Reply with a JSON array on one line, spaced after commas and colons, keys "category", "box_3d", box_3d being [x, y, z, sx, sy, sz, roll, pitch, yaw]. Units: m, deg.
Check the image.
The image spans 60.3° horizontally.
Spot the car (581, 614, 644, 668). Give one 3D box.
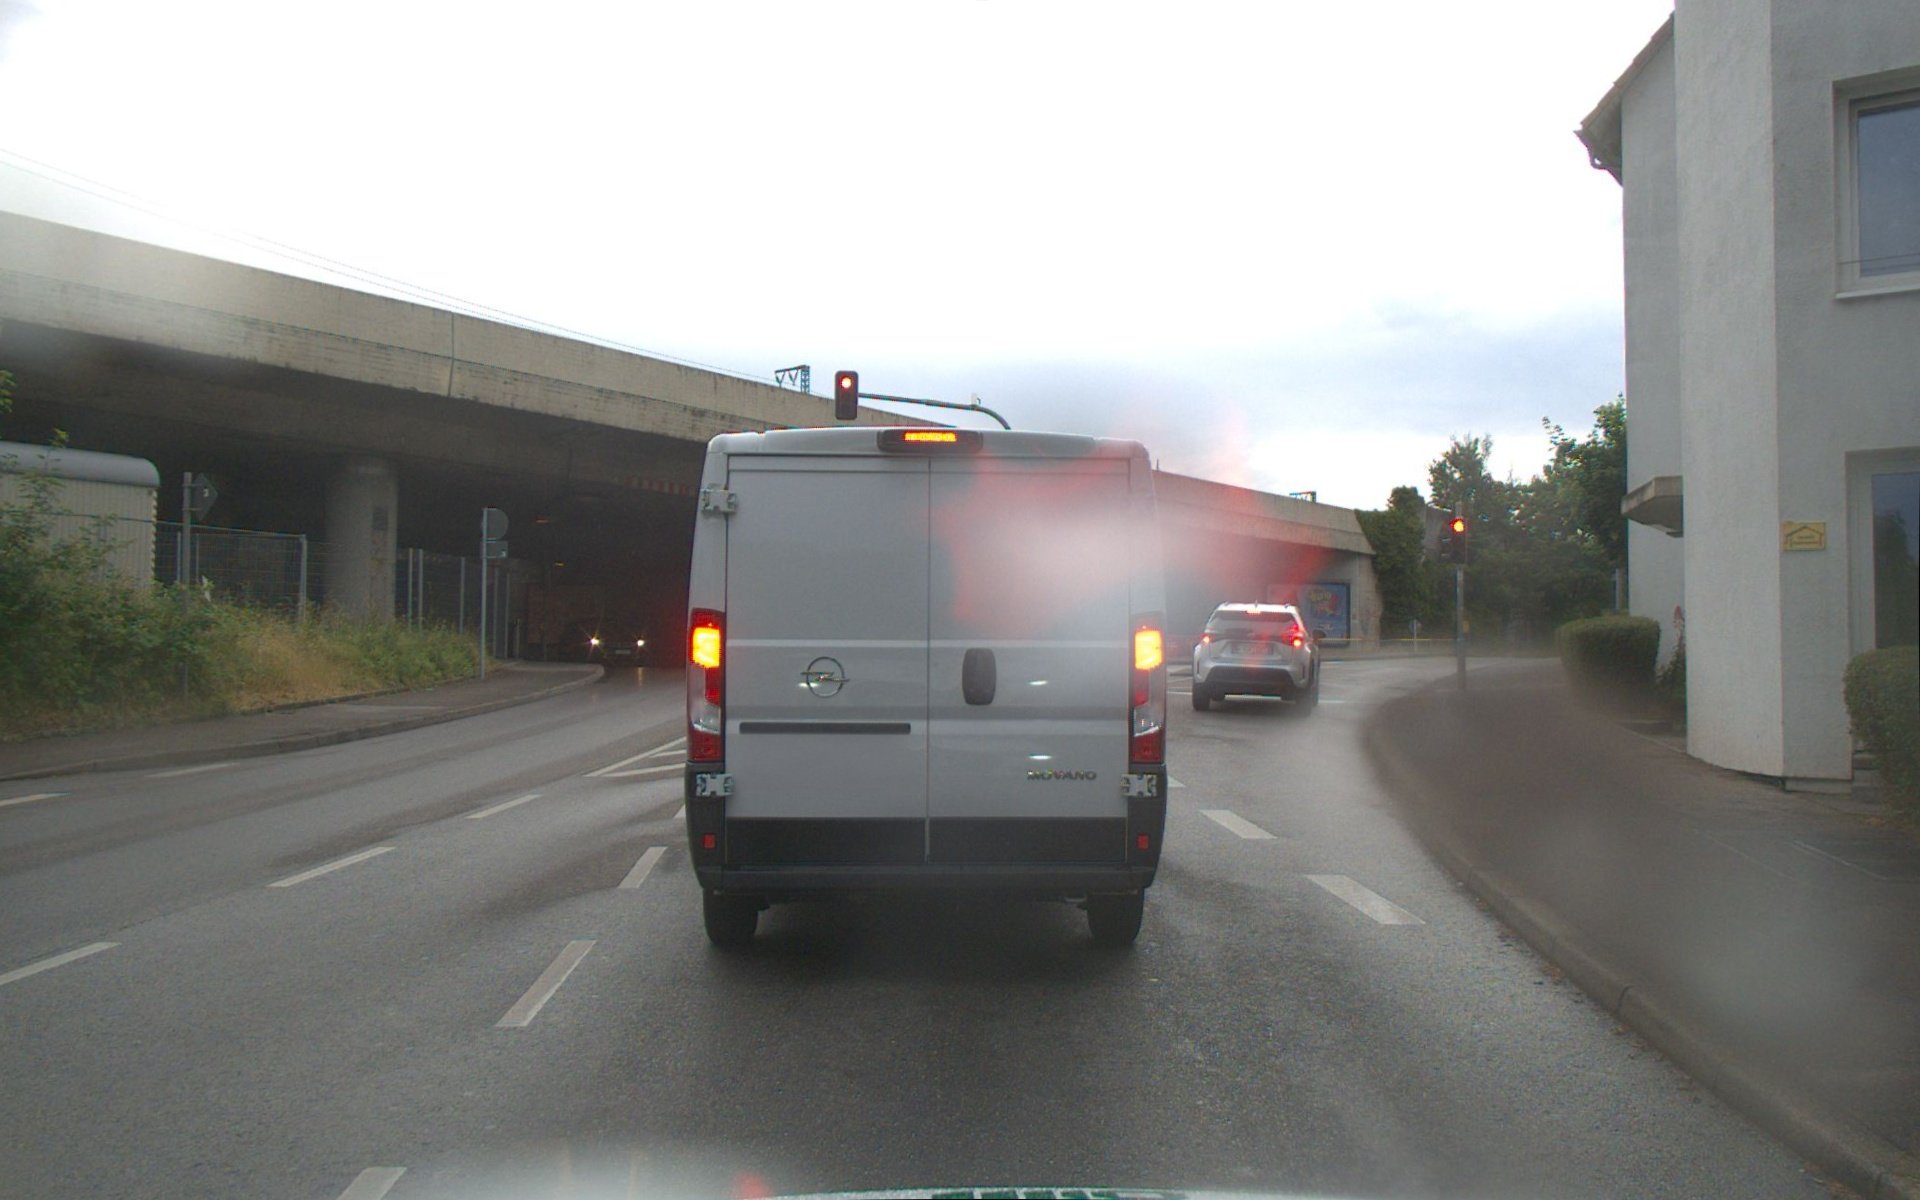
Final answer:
[{"category": "car", "box_3d": [-11.360, 1.299, 53.893, 1.882, 1.655, 4.418, 0, 0, -14]}]

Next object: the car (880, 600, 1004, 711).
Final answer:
[{"category": "car", "box_3d": [-0.244, 0.946, 28.627, 1.952, 1.759, 4.000, 0, -2, 2]}]

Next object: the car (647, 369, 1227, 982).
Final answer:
[{"category": "car", "box_3d": [-0.012, 0.316, 9.148, 2.257, 2.384, 5.283, 1, -1, 2]}]

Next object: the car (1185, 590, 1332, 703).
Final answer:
[{"category": "car", "box_3d": [4.649, 0.702, 25.318, 1.951, 1.576, 4.002, 0, -2, 14]}]
